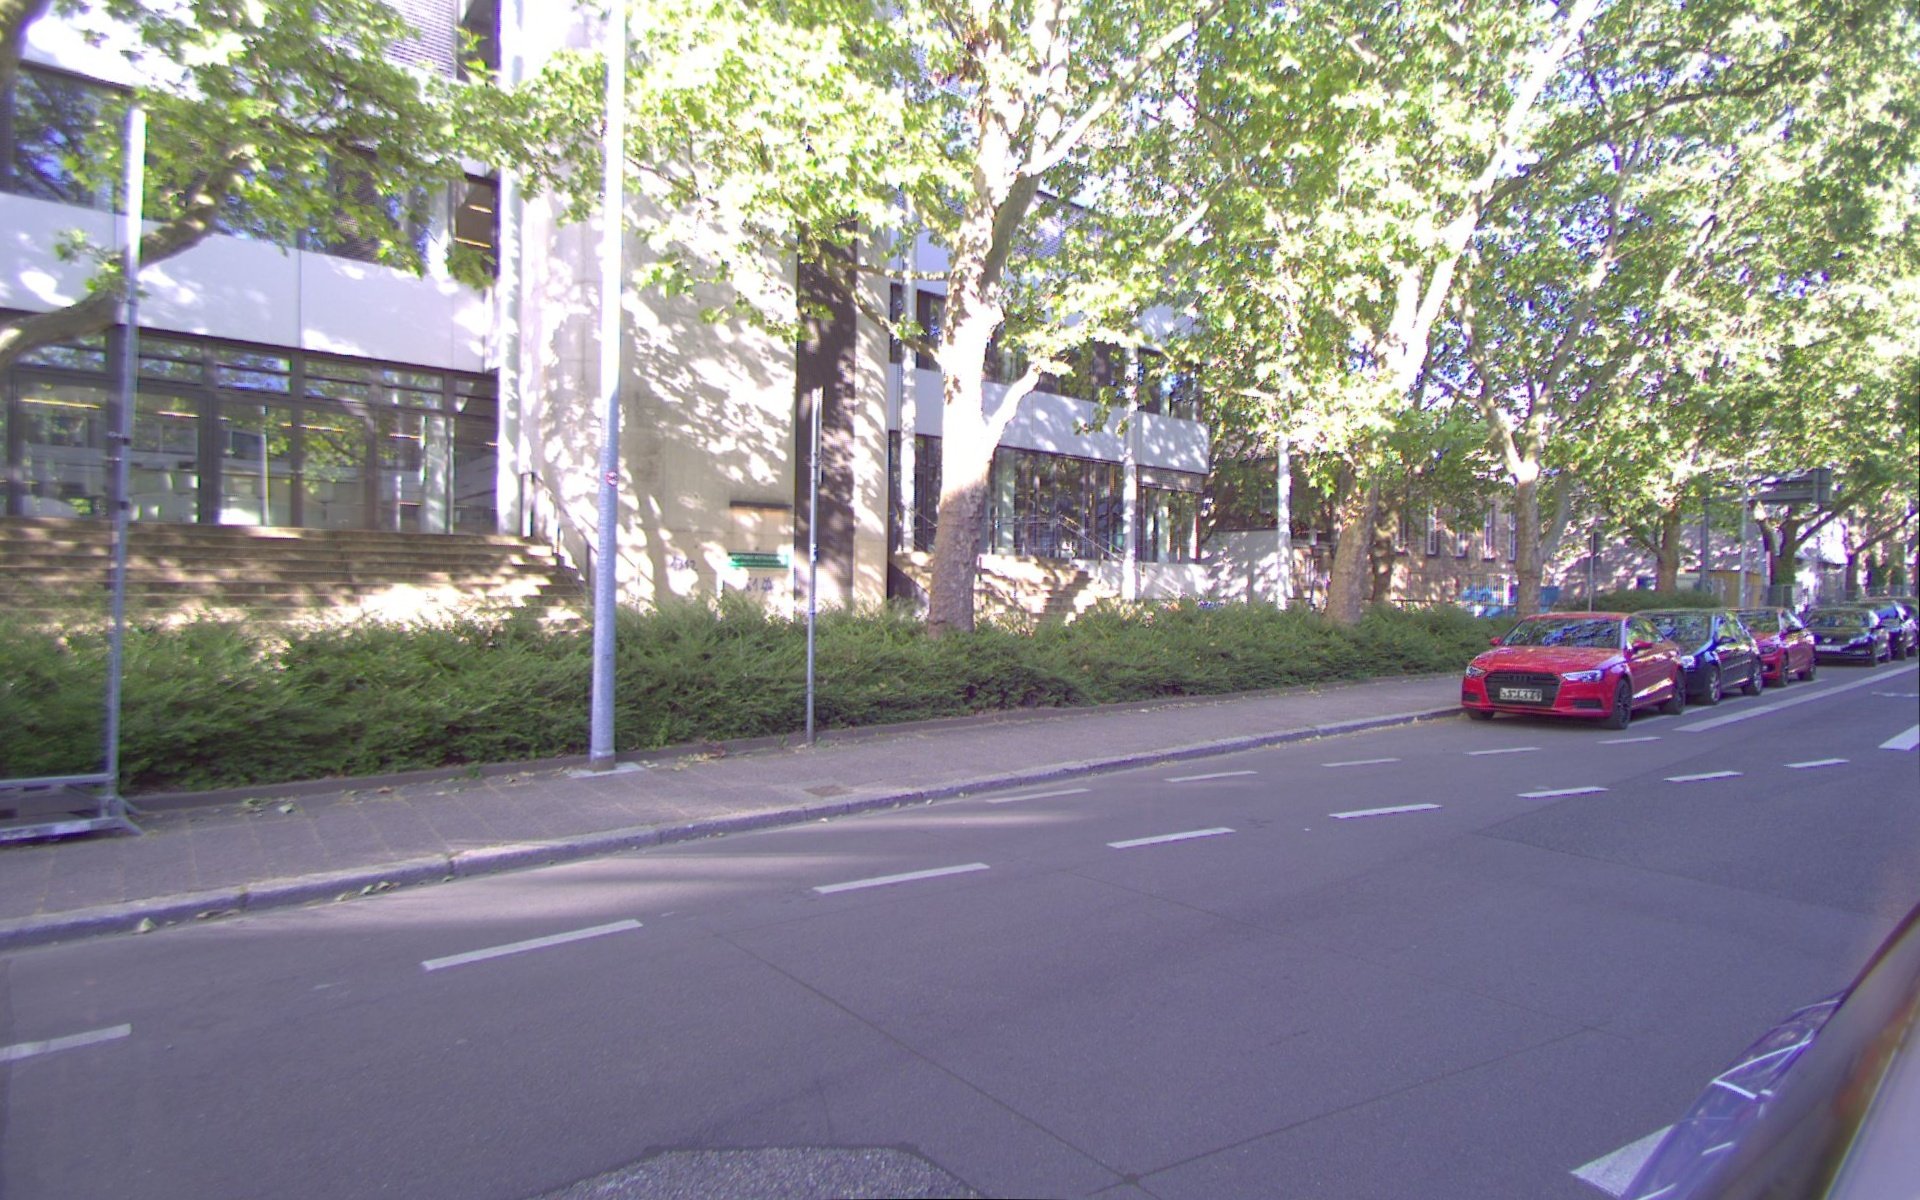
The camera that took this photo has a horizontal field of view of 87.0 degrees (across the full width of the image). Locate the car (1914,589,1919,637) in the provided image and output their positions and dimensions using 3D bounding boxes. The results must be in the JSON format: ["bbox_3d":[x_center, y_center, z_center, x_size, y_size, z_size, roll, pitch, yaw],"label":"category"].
[{"bbox_3d":[39.612,0.489,40.286,3.930,1.872,1.997,-1,0,-41],"label":"car"}]

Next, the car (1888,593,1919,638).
[{"bbox_3d":[35.993,0.556,37.447,4.070,1.585,1.997,-1,0,-41],"label":"car"}]

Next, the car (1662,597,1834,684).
[{"bbox_3d":[15.646,0.720,20.048,3.762,1.517,1.997,-1,0,-41],"label":"car"}]

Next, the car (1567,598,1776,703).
[{"bbox_3d":[11.695,0.732,16.574,3.581,1.478,1.997,-1,0,-41],"label":"car"}]

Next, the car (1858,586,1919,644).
[{"bbox_3d":[31.262,0.453,33.306,4.493,1.809,1.997,-1,0,-41],"label":"car"}]

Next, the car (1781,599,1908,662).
[{"bbox_3d":[22.798,0.725,26.056,3.527,1.474,1.997,-1,0,-41],"label":"car"}]

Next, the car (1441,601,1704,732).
[{"bbox_3d":[8.256,0.754,13.518,3.930,1.443,1.906,-1,0,-41],"label":"car"}]

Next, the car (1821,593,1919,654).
[{"bbox_3d":[26.524,0.612,29.178,4.070,1.621,1.997,-1,0,-41],"label":"car"}]
